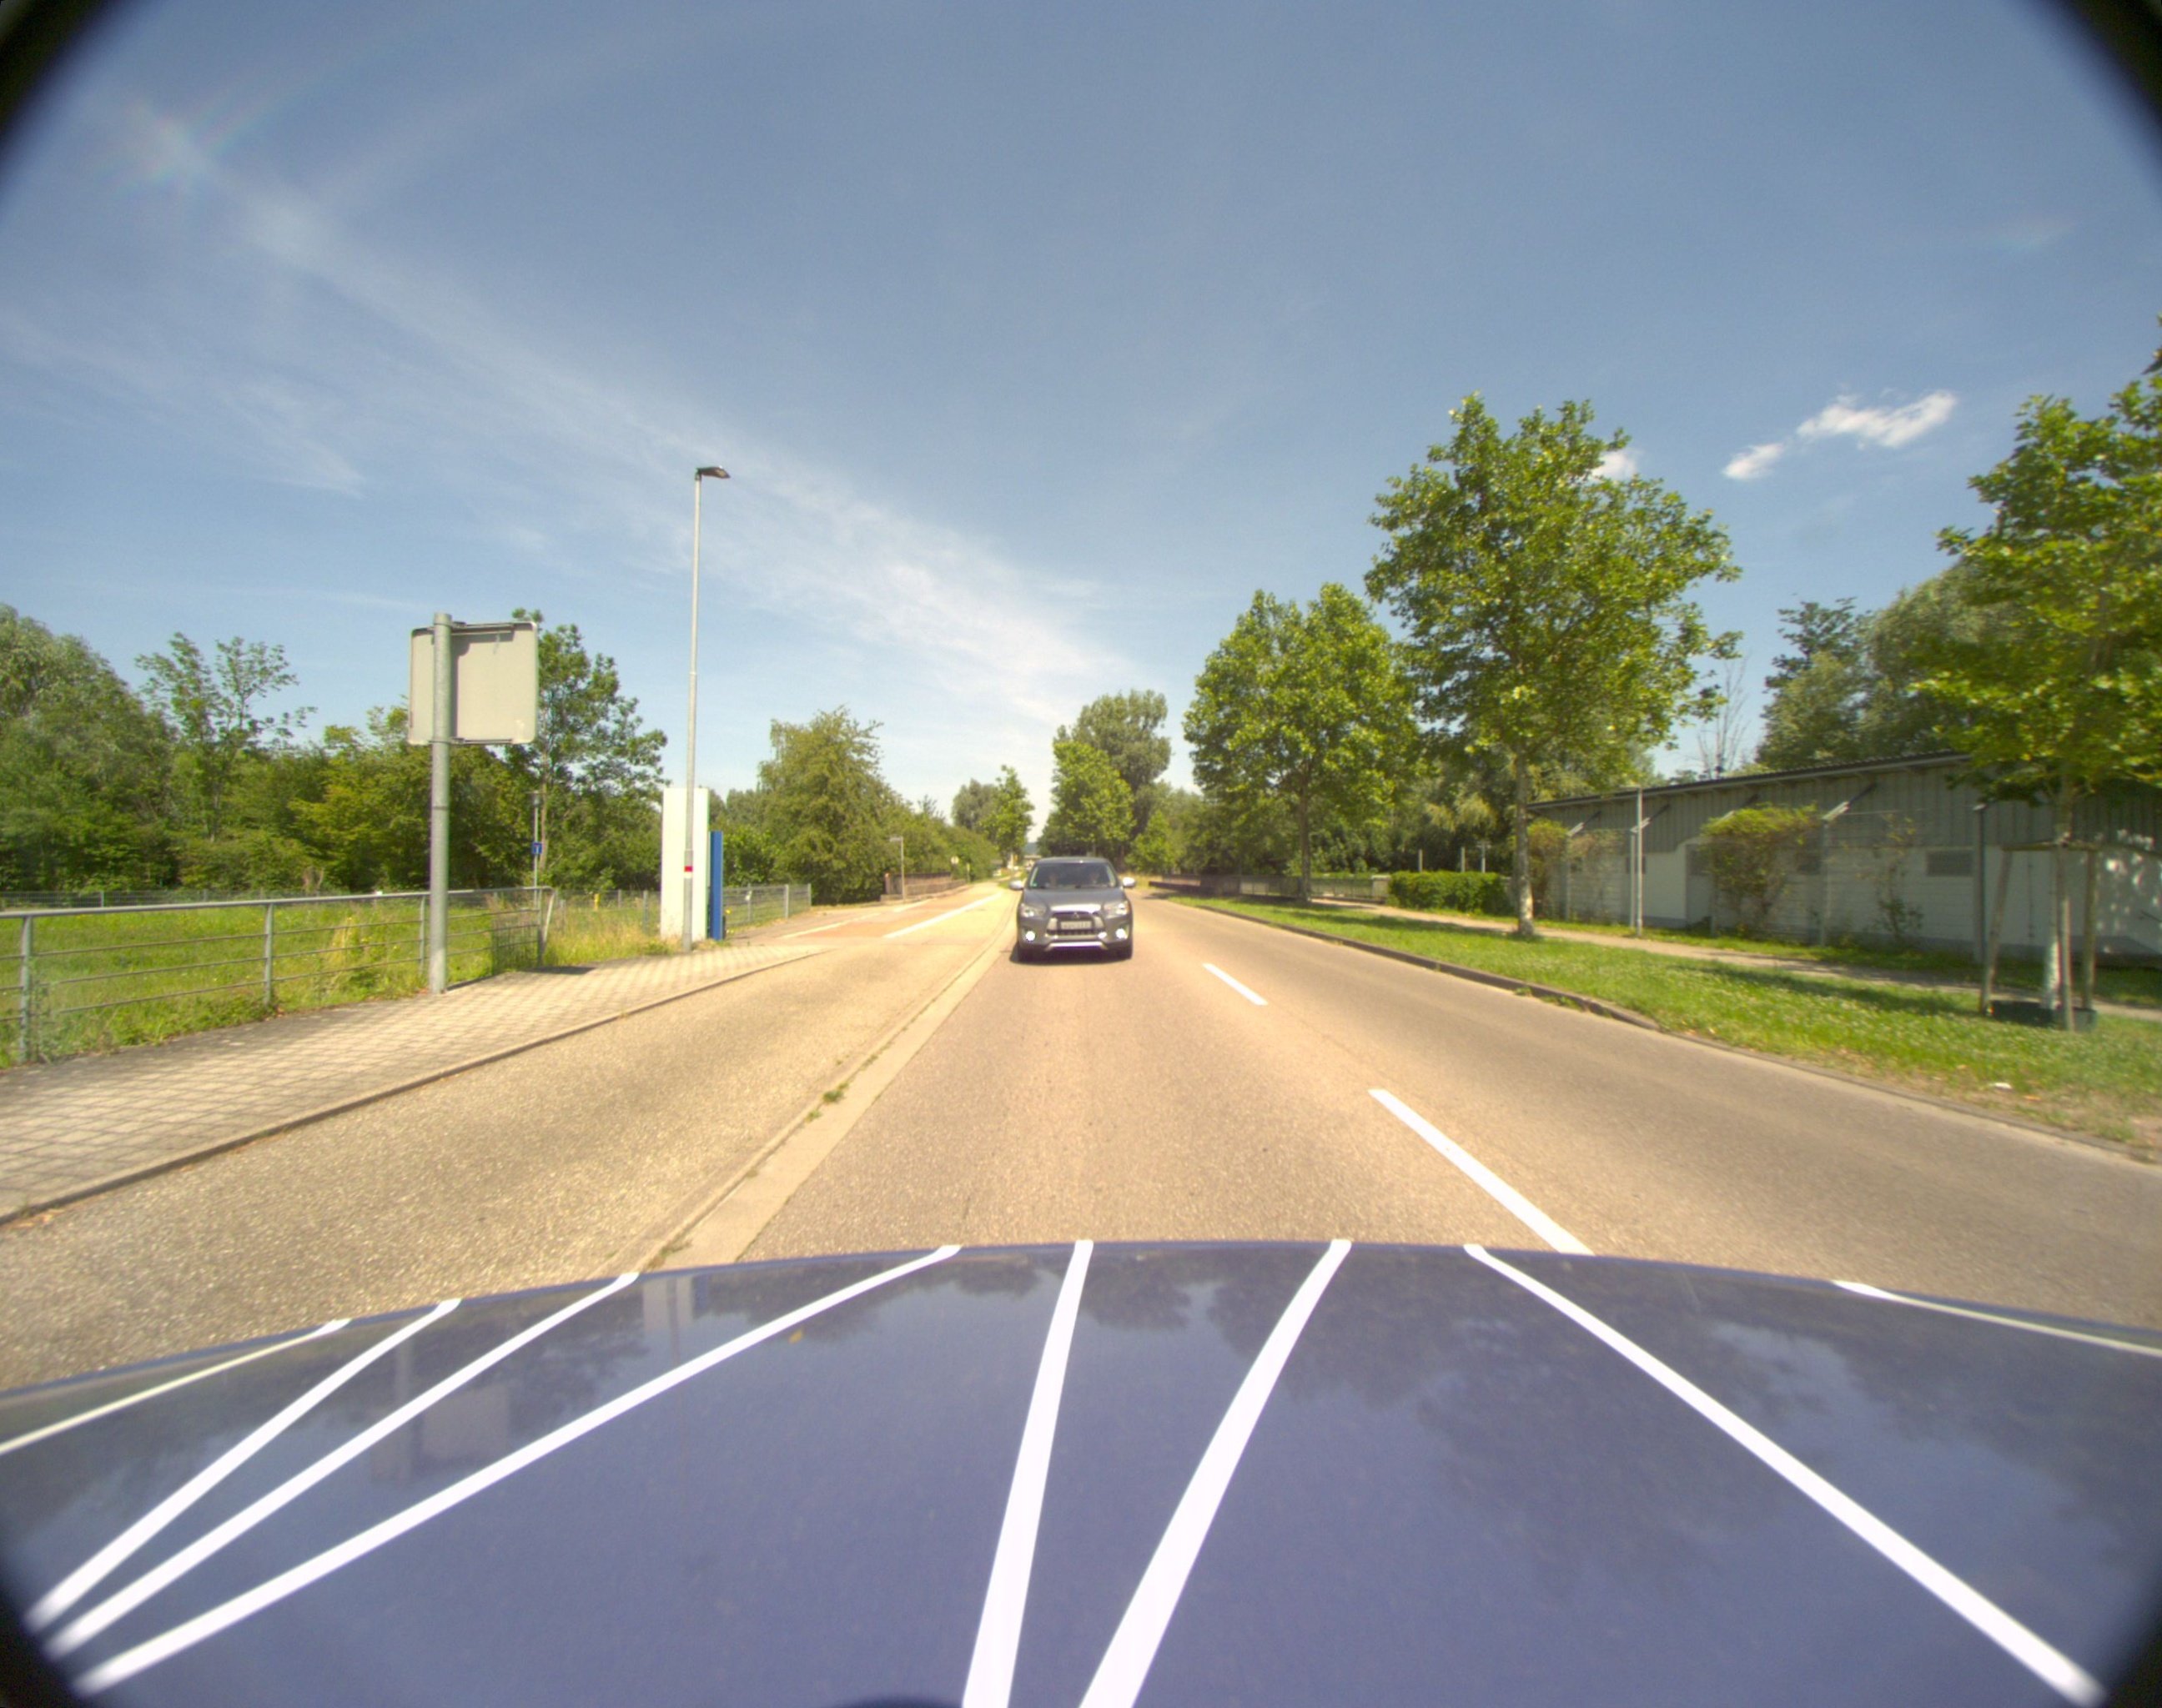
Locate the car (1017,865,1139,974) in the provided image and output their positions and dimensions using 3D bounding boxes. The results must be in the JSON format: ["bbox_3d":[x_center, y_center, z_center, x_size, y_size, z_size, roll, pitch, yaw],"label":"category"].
[{"bbox_3d":[-0.197,0.974,13.166,1.750,1.525,4.523,0,0,-4],"label":"car"}]

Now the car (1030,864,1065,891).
[{"bbox_3d":[-1.857,1.245,41.476,1.677,1.342,3.829,-1,0,-6],"label":"car"}]
